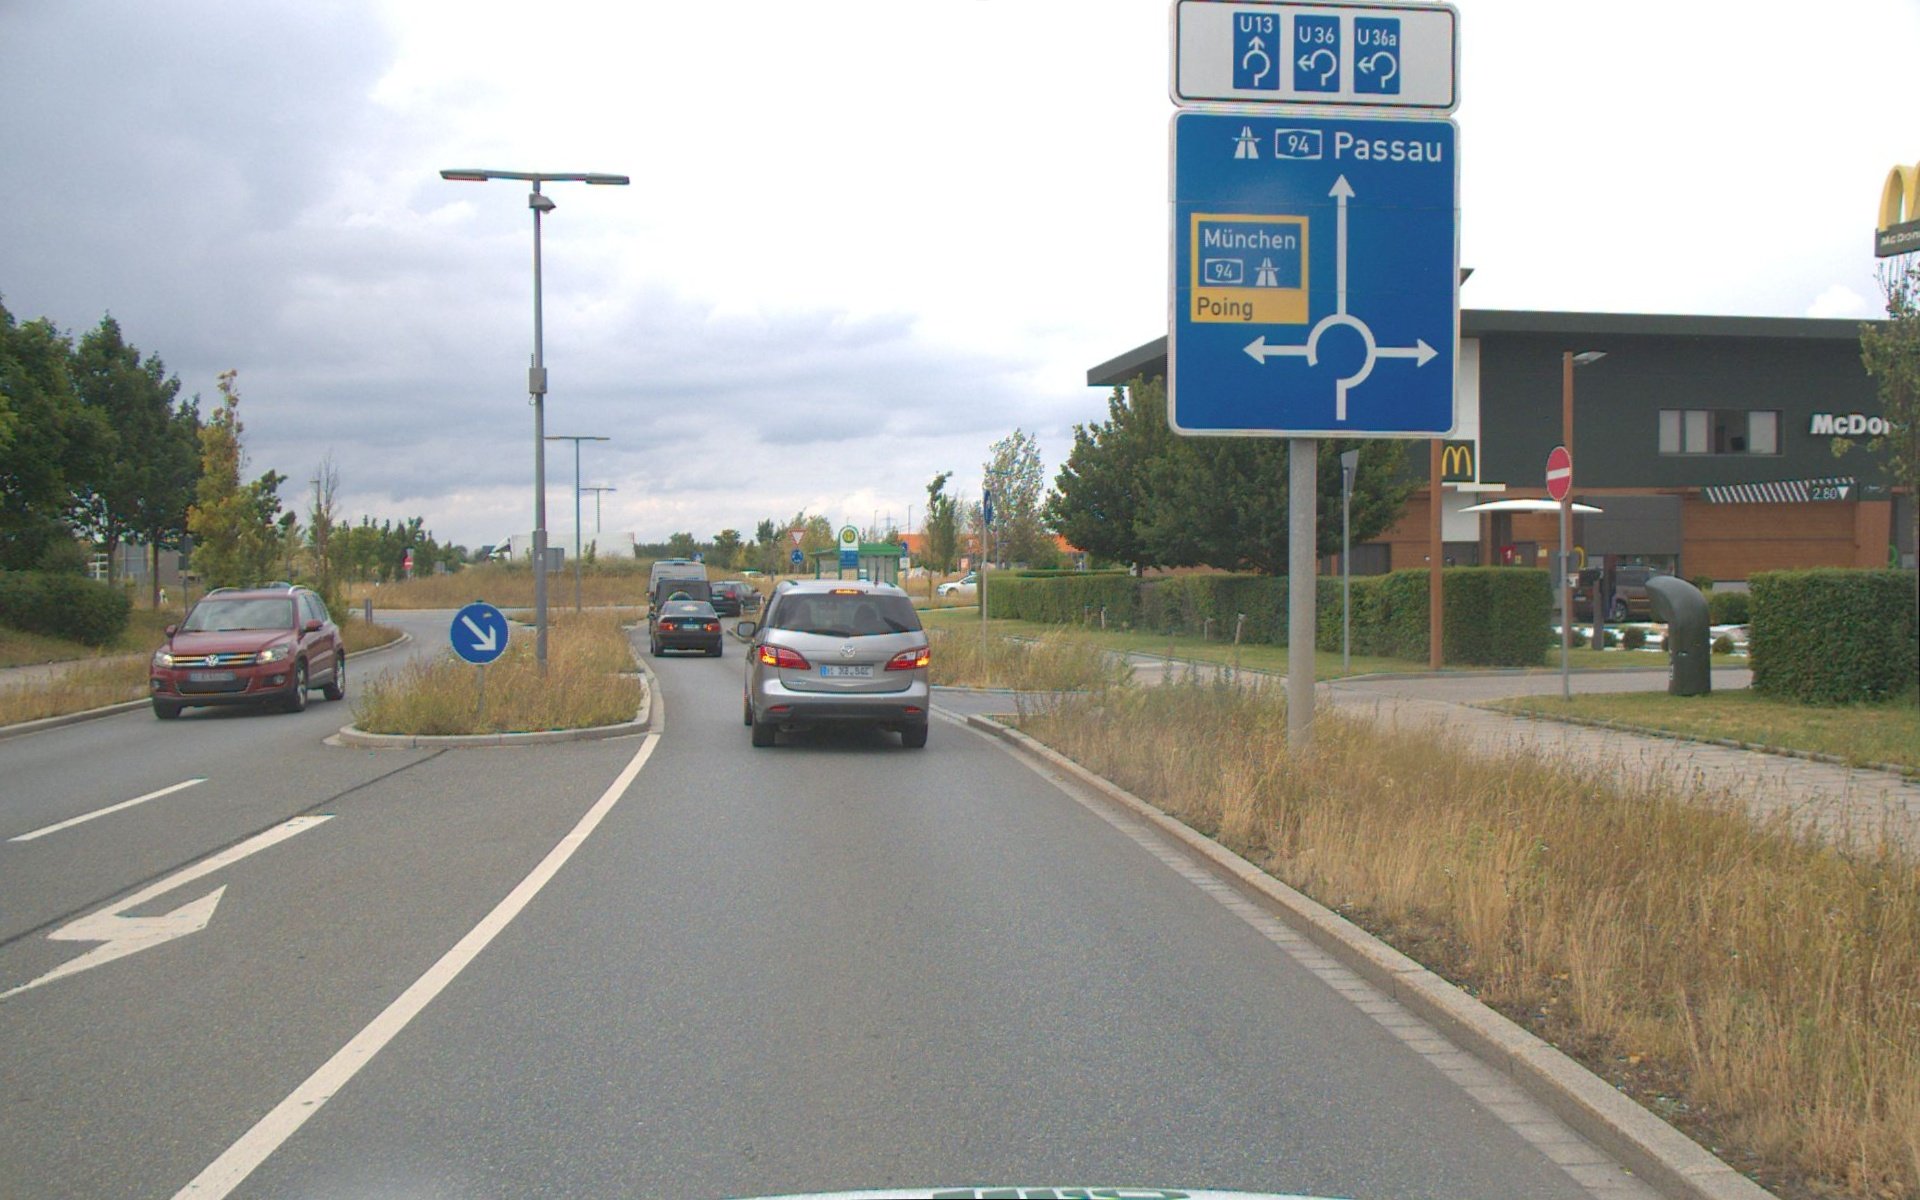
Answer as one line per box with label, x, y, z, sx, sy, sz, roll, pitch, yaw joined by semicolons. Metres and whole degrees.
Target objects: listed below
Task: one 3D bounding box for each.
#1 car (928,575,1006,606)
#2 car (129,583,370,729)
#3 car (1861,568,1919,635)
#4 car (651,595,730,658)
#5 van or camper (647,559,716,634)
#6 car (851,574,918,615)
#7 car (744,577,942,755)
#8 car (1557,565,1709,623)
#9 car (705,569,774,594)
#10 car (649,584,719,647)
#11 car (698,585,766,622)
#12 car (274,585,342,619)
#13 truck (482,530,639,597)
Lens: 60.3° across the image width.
car;0.380;-0.536;97.363;4.509;1.788;1.999;0;0;-2
car;-9.514;0.677;22.540;1.764;1.698;4.321;-3;1;-7
car;25.508;0.024;44.593;2.075;1.747;4.224;0;0;28
car;-6.761;0.621;41.223;1.812;1.443;4.213;-1;1;-11
van or camper;-9.859;-0.125;58.913;2.260;2.549;5.196;0;0;-8
car;-3.825;-0.297;84.862;1.952;2.049;4.627;0;0;18
car;-1.311;0.592;17.085;1.698;1.628;3.799;1;0;-9
car;20.707;-0.192;50.922;3.917;1.747;1.994;0;0;-12
car;-14.084;-1.144;105.736;3.908;1.542;1.998;0;0;26
car;-8.537;0.447;51.114;2.021;1.858;4.775;0;0;-10
car;-9.663;0.128;70.355;1.951;1.542;4.003;-1;0;6
car;-30.034;0.090;76.132;1.829;1.431;3.945;-3;1;-38
truck;-24.439;-2.211;101.605;9.138;3.975;3.135;-1;0;-11
